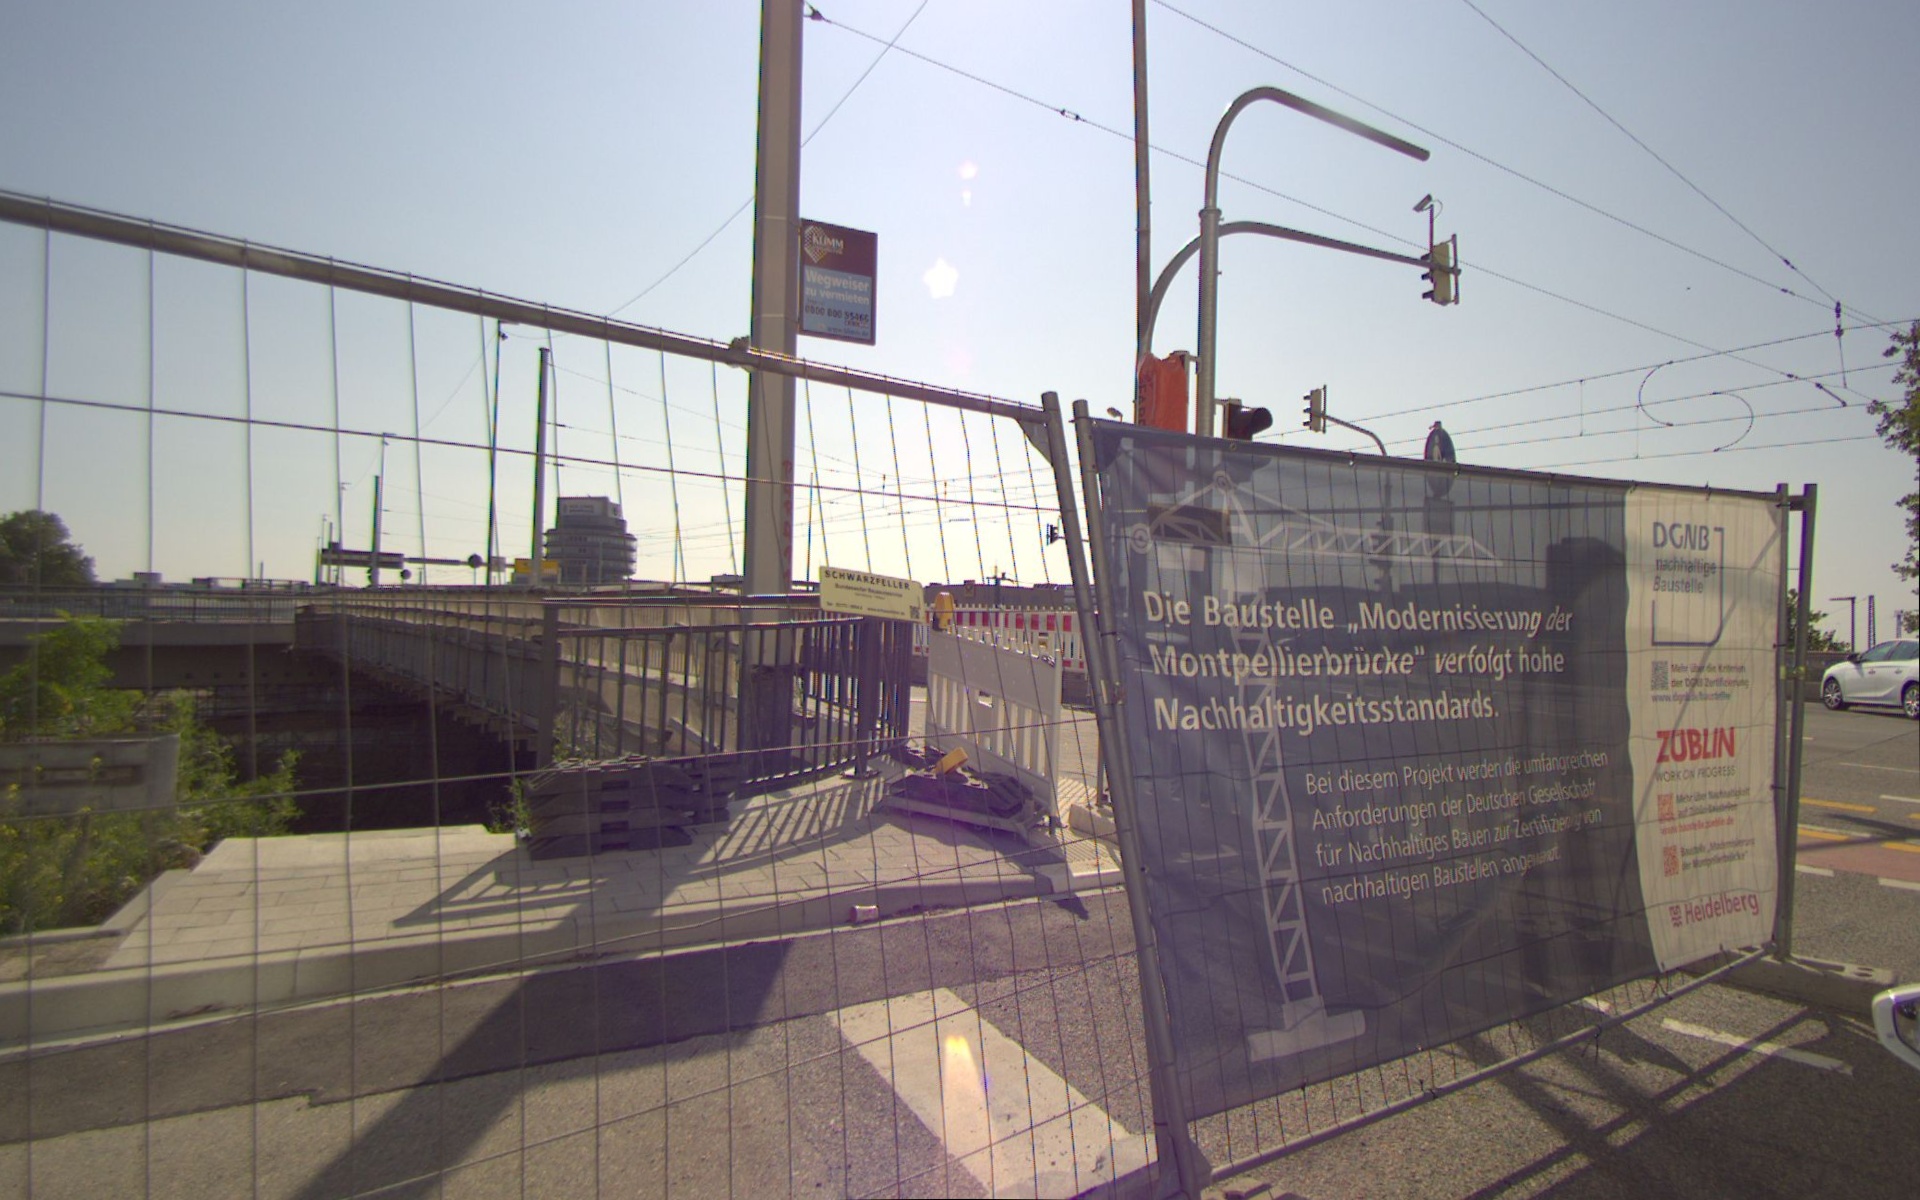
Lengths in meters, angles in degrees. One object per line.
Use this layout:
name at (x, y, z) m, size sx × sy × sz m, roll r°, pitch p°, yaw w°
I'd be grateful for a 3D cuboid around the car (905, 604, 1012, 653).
car at (-0.111, 0.877, 32.339) m, size 1.523 × 1.456 × 3.942 m, roll 2°, pitch -1°, yaw -34°

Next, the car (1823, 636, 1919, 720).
car at (17.622, 1.432, 18.304) m, size 1.689 × 1.423 × 3.413 m, roll 2°, pitch -2°, yaw 19°

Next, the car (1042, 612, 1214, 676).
car at (4.284, 1.095, 26.289) m, size 1.628 × 1.456 × 4.593 m, roll 1°, pitch 0°, yaw -37°

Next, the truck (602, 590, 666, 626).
truck at (-31.343, 0.670, 96.268) m, size 2.445 × 3.176 × 11.100 m, roll 3°, pitch -1°, yaw -36°

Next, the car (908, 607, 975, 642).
car at (-1.224, 1.553, 64.643) m, size 1.867 × 2.059 × 4.843 m, roll 4°, pitch -3°, yaw -35°

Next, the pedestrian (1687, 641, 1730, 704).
pedestrian at (22.474, 2.157, 30.161) m, size 0.847 × 1.819 × 0.821 m, roll 1°, pitch 0°, yaw 24°
